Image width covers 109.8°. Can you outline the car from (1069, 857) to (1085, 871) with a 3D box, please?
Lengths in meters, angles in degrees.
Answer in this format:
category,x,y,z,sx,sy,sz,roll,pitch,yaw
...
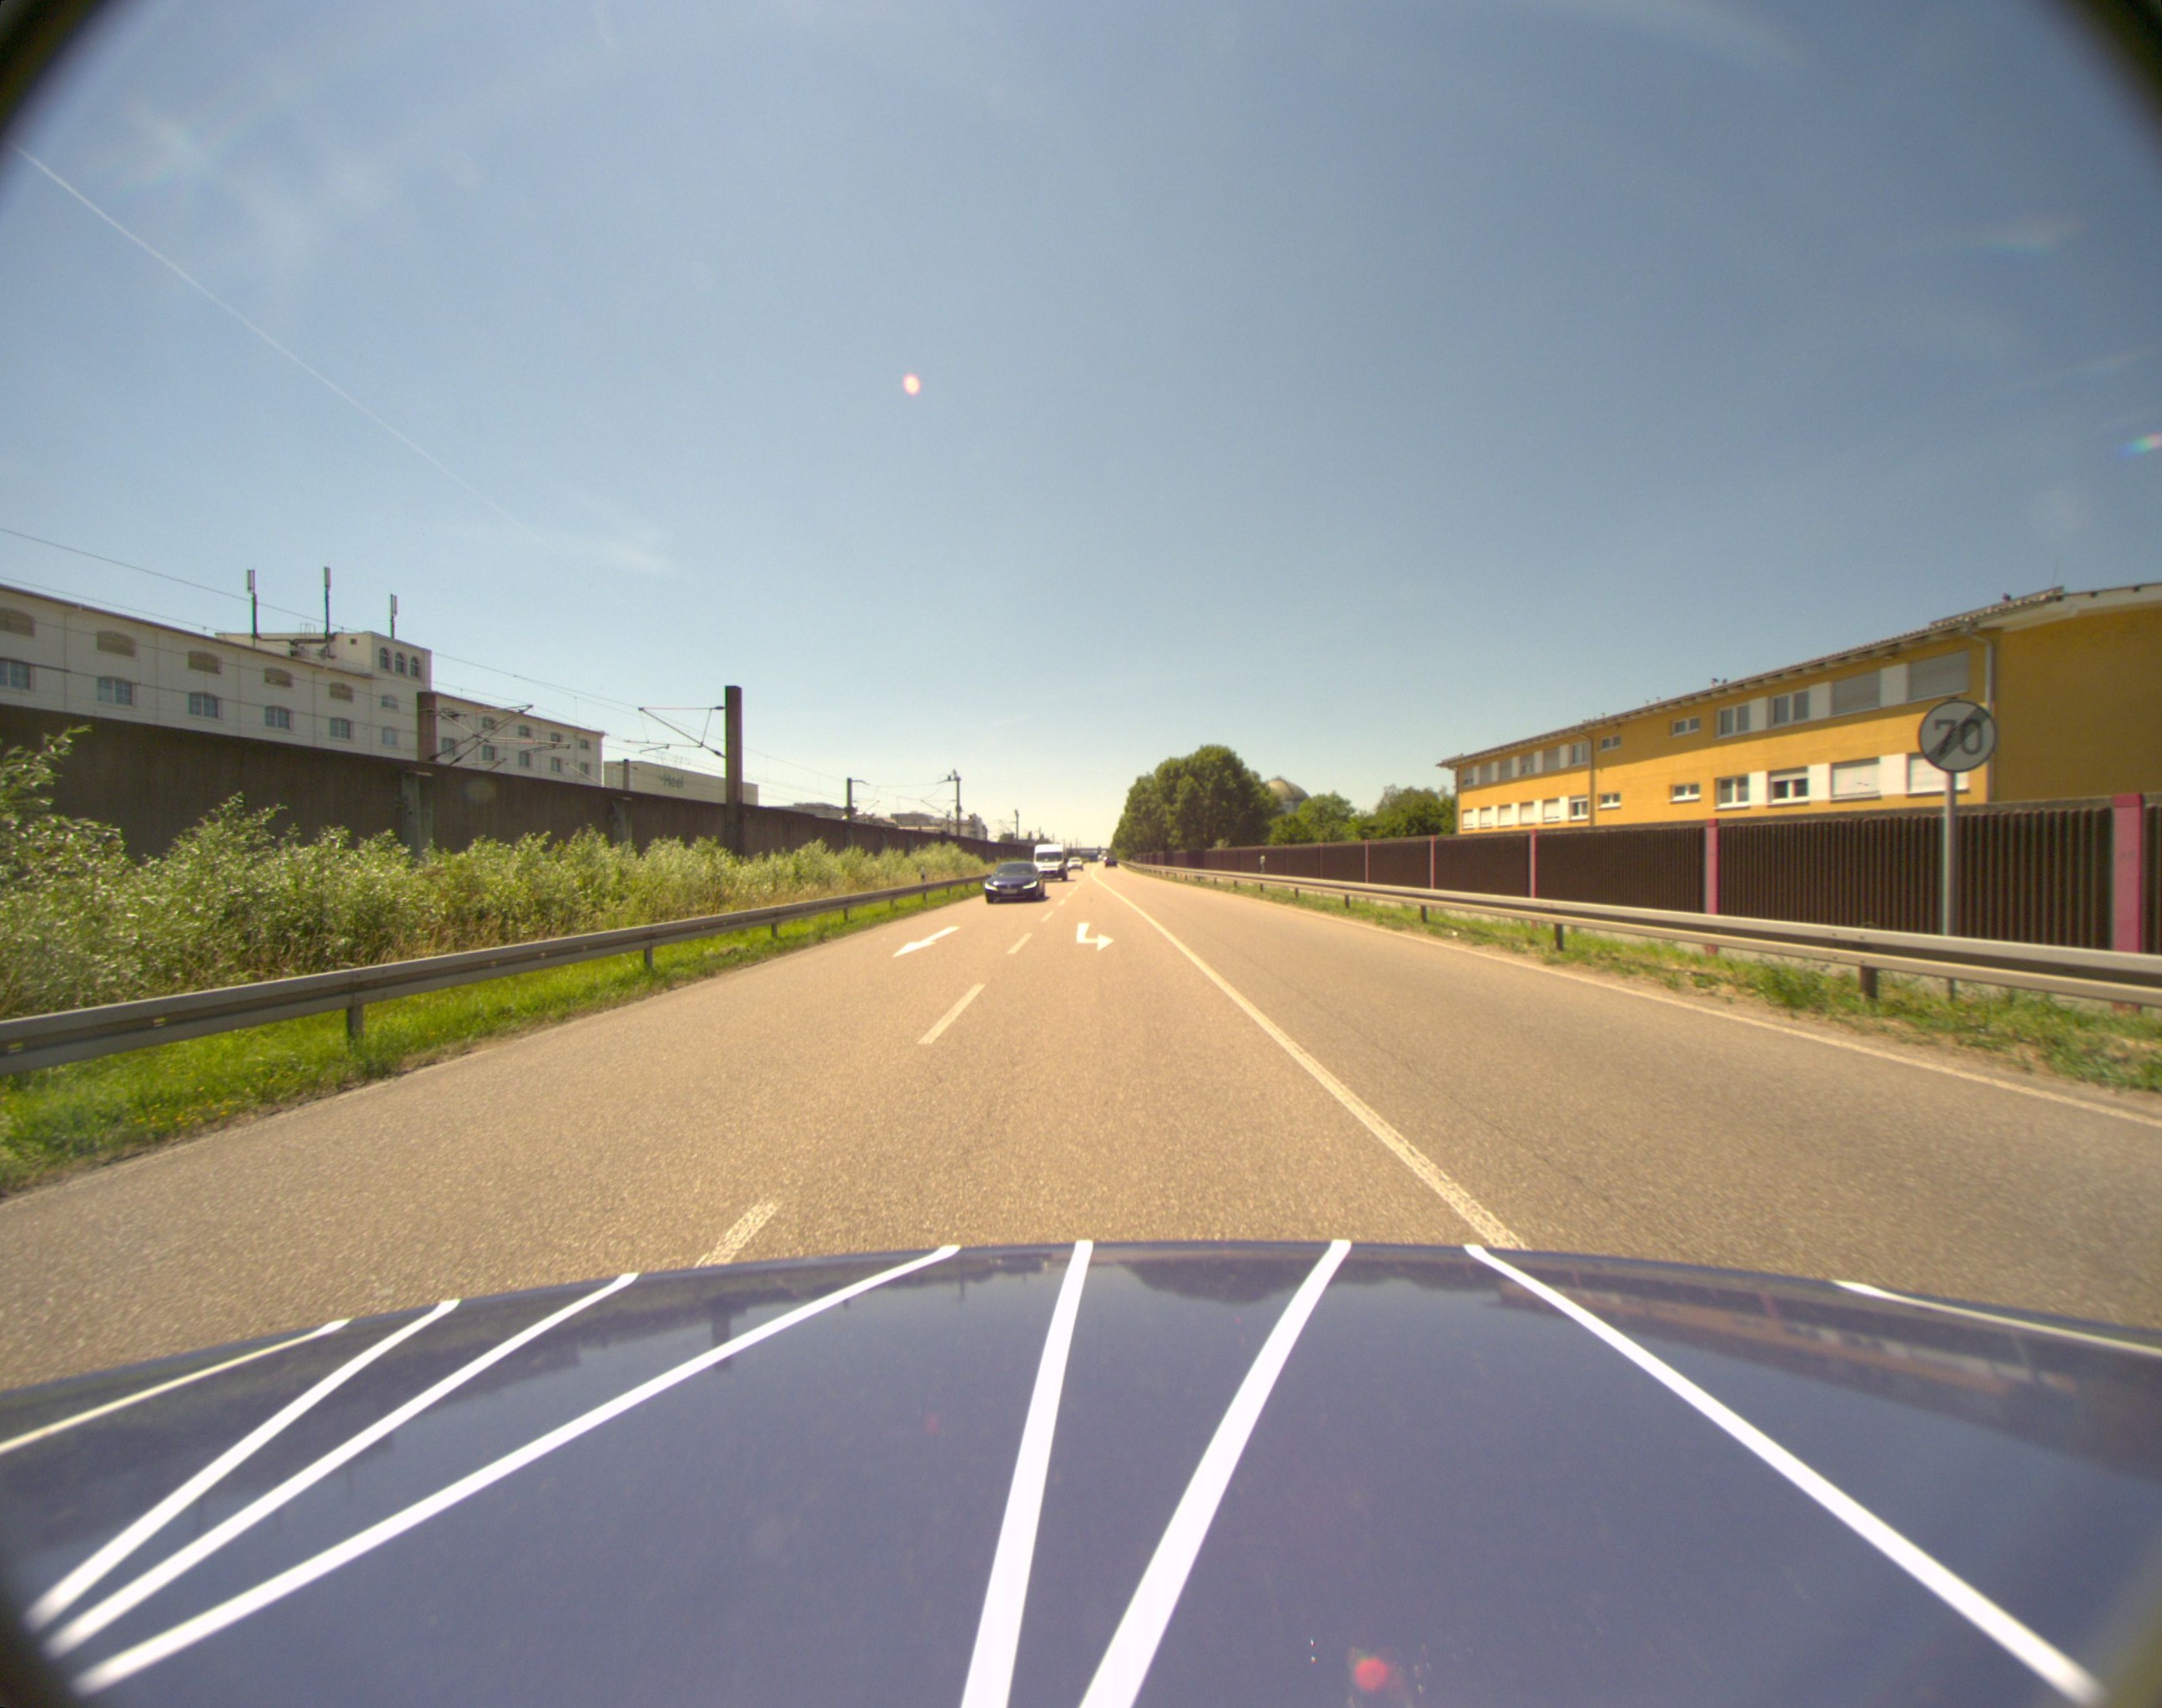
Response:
category,x,y,z,sx,sy,sz,roll,pitch,yaw
car,-0.521,1.187,91.273,1.822,1.554,4.278,-2,0,0

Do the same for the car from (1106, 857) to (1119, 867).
category,x,y,z,sx,sy,sz,roll,pitch,yaw
car,4.433,1.116,107.493,1.849,1.382,4.190,-2,0,1

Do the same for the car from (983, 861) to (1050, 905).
category,x,y,z,sx,sy,sz,roll,pitch,yaw
car,-2.281,1.012,27.977,1.861,1.371,4.504,-2,0,2

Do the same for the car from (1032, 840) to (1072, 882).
category,x,y,z,sx,sy,sz,roll,pitch,yaw
car,-1.867,0.455,51.273,2.193,2.588,6.751,-2,0,2

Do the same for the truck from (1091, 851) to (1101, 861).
category,x,y,z,sx,sy,sz,roll,pitch,yaw
truck,4.297,0.548,220.053,2.616,3.024,10.656,-1,0,2
